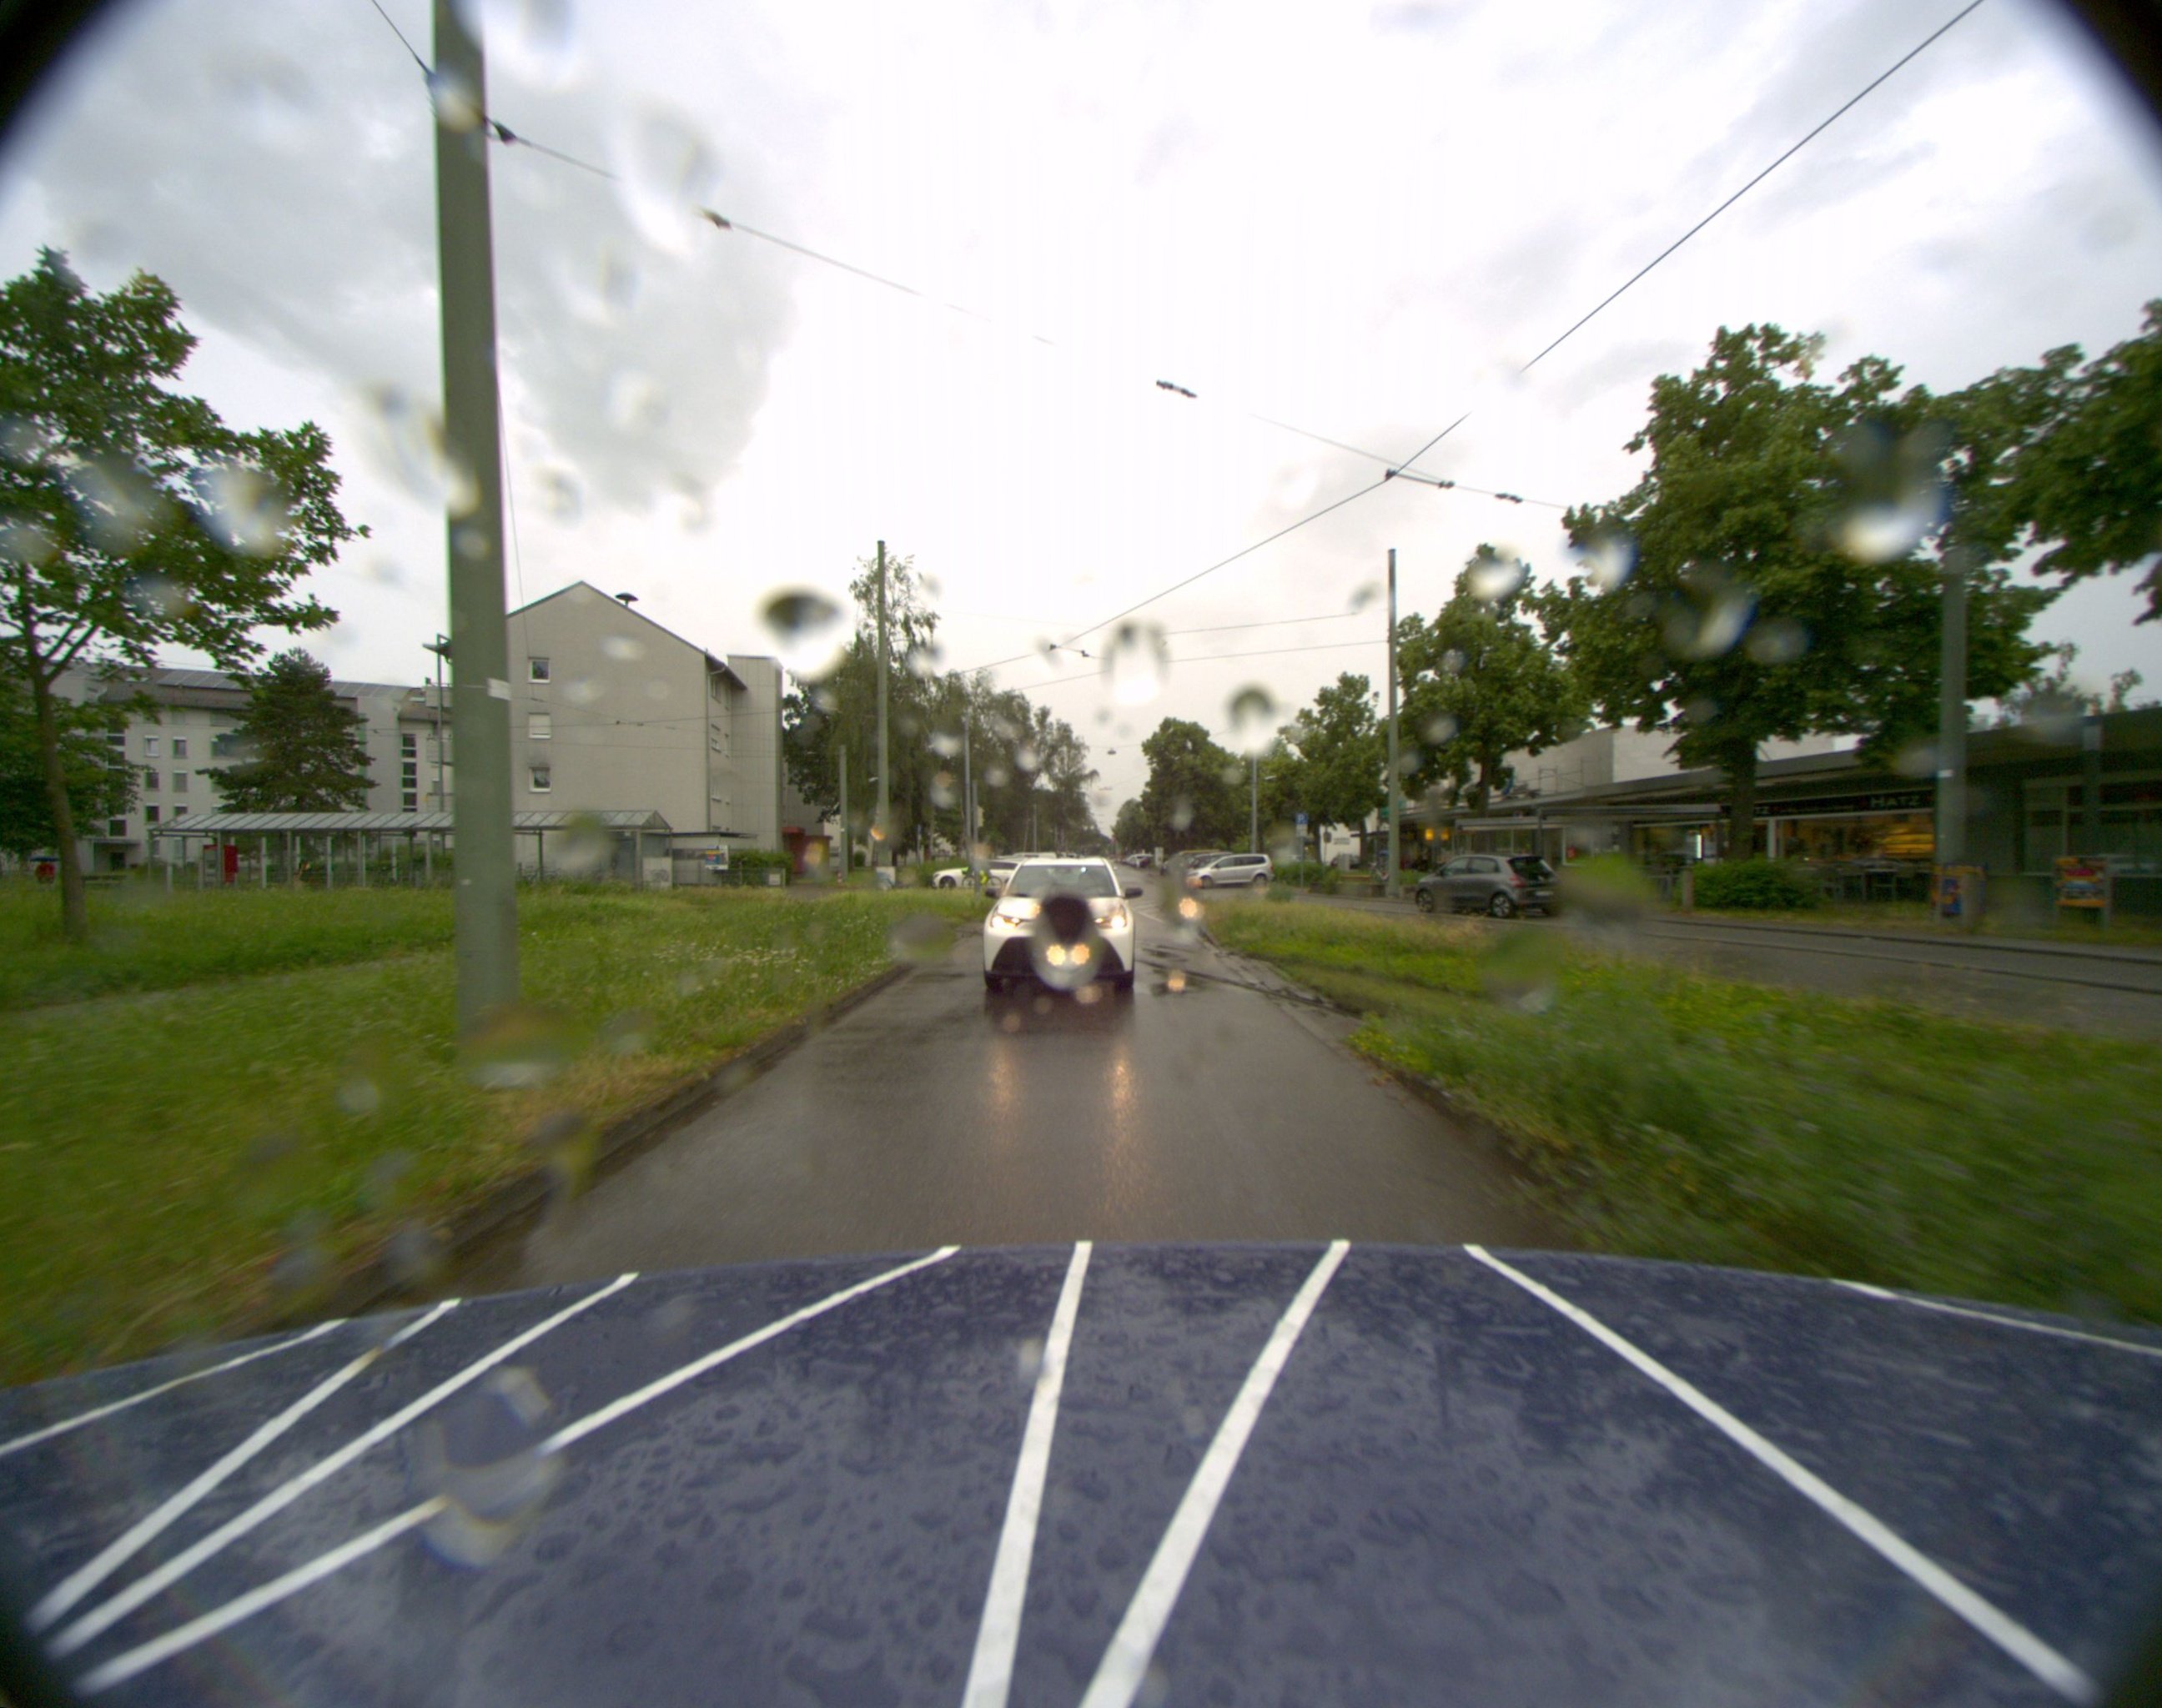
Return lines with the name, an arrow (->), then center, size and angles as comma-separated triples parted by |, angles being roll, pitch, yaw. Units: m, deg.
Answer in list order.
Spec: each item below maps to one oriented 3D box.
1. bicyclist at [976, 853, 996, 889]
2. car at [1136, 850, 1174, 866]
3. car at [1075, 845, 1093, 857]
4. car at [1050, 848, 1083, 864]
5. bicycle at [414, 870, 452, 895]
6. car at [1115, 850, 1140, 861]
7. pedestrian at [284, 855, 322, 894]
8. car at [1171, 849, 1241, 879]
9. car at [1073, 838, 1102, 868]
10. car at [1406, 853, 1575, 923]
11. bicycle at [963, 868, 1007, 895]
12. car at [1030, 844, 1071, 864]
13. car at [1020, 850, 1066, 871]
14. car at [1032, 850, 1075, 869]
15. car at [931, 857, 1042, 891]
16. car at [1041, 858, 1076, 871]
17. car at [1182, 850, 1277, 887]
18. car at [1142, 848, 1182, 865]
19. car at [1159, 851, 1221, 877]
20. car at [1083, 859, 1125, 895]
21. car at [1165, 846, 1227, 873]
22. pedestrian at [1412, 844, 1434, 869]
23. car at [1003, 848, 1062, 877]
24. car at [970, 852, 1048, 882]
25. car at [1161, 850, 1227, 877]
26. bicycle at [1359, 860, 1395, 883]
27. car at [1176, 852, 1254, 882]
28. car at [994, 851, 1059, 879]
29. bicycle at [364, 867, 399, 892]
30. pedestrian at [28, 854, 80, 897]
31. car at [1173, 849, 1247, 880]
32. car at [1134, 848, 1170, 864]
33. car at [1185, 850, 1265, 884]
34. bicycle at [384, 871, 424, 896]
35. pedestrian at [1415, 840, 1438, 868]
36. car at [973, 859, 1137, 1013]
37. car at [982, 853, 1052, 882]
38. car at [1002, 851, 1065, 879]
bicyclist -> -4.117, 0.722, 32.892 | 0.699, 1.507, 0.724 | -1, 0, -18
car -> 9.390, 0.495, 96.342 | 4.546, 1.932, 1.899 | -2, 0, 0
car -> 0.659, -0.684, 197.242 | 4.546, 2.928, 1.899 | -2, 0, 0
car -> -1.987, 0.265, 107.699 | 4.546, 2.013, 1.899 | -2, 0, 0
bicycle -> -26.113, 1.123, 30.626 | 0.377, 0.942, 1.238 | -2, 1, 4
car -> 8.693, 0.360, 143.387 | 4.546, 1.932, 1.899 | -2, 0, 0
pedestrian -> -32.135, 0.843, 31.392 | 0.636, 1.563, 0.789 | -2, 1, 0
car -> 7.871, 0.617, 47.980 | 4.088, 1.699, 1.899 | -2, 0, 0
car -> 0.444, -0.093, 55.825 | 1.998, 2.002, 4.000 | -2, 0, 0
car -> 10.024, 0.767, 18.909 | 1.553, 1.495, 3.618 | -3, 0, -16
bicycle -> -4.155, 1.175, 32.872 | 1.755, 1.123, 0.727 | -1, 0, -17
car -> -3.458, -0.010, 86.120 | 4.443, 2.050, 1.722 | -2, 1, -2
car -> -3.800, 0.627, 76.356 | 4.546, 1.932, 1.899 | -2, 0, 0
car -> -2.912, 0.561, 81.708 | 4.546, 1.932, 1.899 | -2, 0, 0
car -> -4.351, 0.902, 35.439 | 4.837, 1.449, 2.000 | 1, 0, 2
car -> -2.980, 1.345, 100.519 | 4.546, 1.574, 1.899 | -2, 0, 0
car -> 7.411, 0.697, 38.191 | 4.334, 1.664, 2.000 | -2, 0, 0
car -> 9.738, 0.261, 91.326 | 4.546, 1.932, 1.899 | -2, 0, 0
car -> 8.121, 0.741, 56.750 | 4.302, 1.799, 1.899 | -2, 0, 0
car -> 1.220, 1.134, 38.787 | 1.961, 1.544, 3.999 | -1, 2, 4
car -> 8.973, 0.411, 59.775 | 4.546, 1.932, 1.899 | -2, 0, 0
pedestrian -> 21.791, 0.135, 48.464 | 1.078, 1.575, 0.948 | 0, 2, 12
car -> -3.770, 0.641, 59.427 | 4.443, 2.050, 1.722 | -2, 1, -2
car -> -3.900, 0.699, 41.513 | 3.996, 1.477, 1.723 | -2, 1, 2
car -> 7.542, 0.630, 51.018 | 4.088, 1.699, 1.899 | -2, 0, 0
bicycle -> 13.793, 0.803, 35.450 | 0.594, 1.066, 1.748 | 0, 0, -16
car -> 7.670, 0.755, 43.739 | 4.088, 1.562, 2.000 | -2, 0, 0
car -> -3.867, 0.771, 54.295 | 4.441, 1.835, 1.723 | -2, 1, 2
bicycle -> -28.338, 1.026, 30.798 | 0.418, 0.942, 1.306 | -3, 1, -14
pedestrian -> -45.957, 0.959, 34.006 | 1.051, 1.873, 1.192 | -2, 1, 29
car -> 7.726, 0.609, 45.859 | 4.088, 1.699, 1.899 | -2, 0, 0
car -> 9.434, 0.230, 101.039 | 4.546, 1.932, 1.899 | -2, 0, 0
car -> 7.648, 0.675, 40.616 | 3.944, 1.664, 1.793 | -2, 0, 0
bicycle -> -27.374, 1.175, 30.731 | 0.377, 0.942, 1.238 | -2, 1, 4
pedestrian -> 21.531, 0.015, 47.354 | 1.078, 1.704, 0.948 | 0, 2, 12
car -> -0.206, 0.925, 9.914 | 1.719, 1.613, 3.716 | -1, -2, 2
car -> -3.908, 0.801, 46.691 | 3.996, 1.576, 1.723 | -2, 1, 2
car -> -3.502, 0.797, 56.525 | 4.441, 1.835, 1.723 | -2, 1, 2
